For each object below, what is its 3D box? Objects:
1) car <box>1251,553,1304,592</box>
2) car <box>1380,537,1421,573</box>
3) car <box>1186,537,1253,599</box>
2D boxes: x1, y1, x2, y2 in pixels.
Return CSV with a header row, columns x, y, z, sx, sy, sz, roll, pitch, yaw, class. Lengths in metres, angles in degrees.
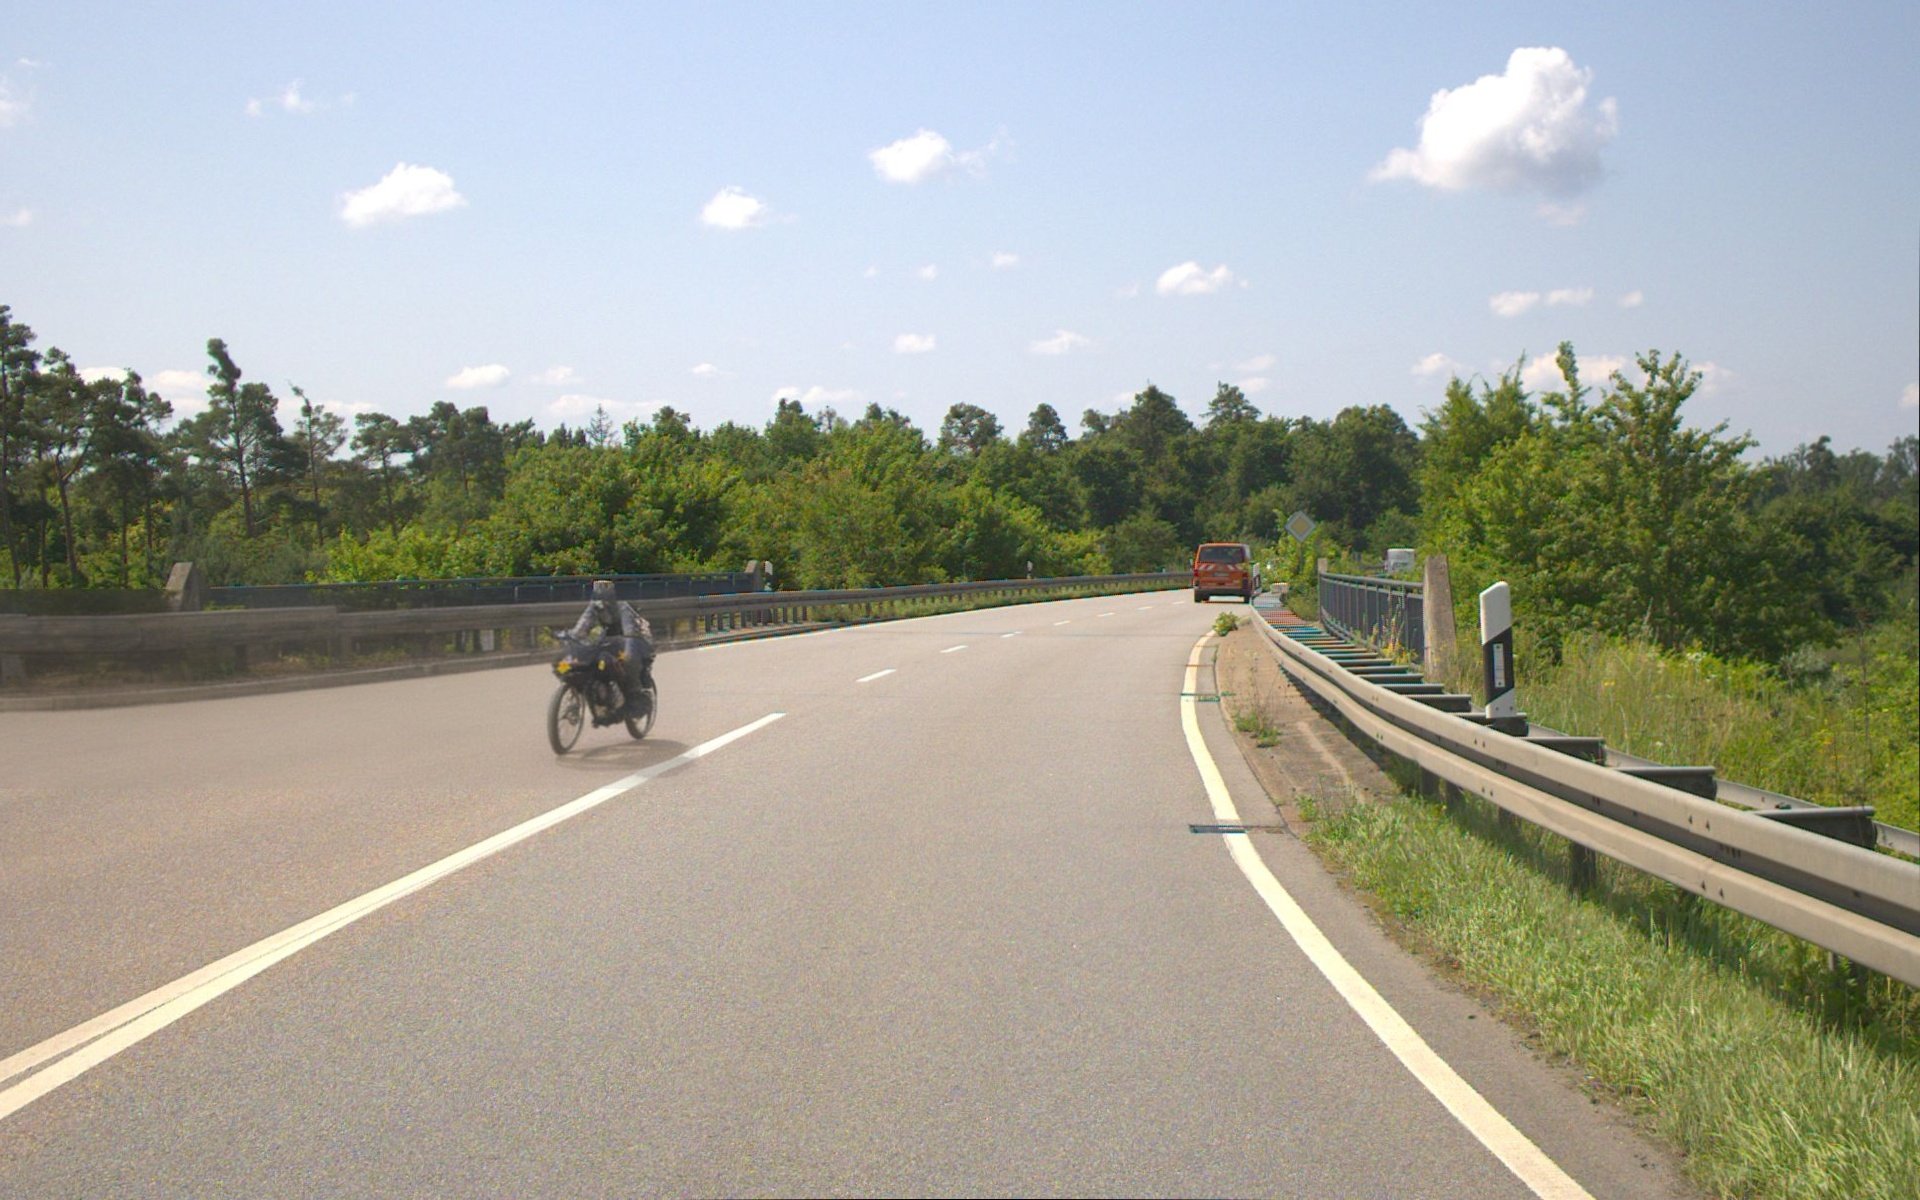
x,y,z,sx,sy,sz,roll,pitch,yaw,class
12.557,-1.083,135.918,2.008,1.488,4.238,1,0,6,car
24.821,-2.548,193.796,2.185,1.948,5.802,1,1,8,car
8.623,-1.055,114.036,2.078,1.986,5.110,1,0,6,car
